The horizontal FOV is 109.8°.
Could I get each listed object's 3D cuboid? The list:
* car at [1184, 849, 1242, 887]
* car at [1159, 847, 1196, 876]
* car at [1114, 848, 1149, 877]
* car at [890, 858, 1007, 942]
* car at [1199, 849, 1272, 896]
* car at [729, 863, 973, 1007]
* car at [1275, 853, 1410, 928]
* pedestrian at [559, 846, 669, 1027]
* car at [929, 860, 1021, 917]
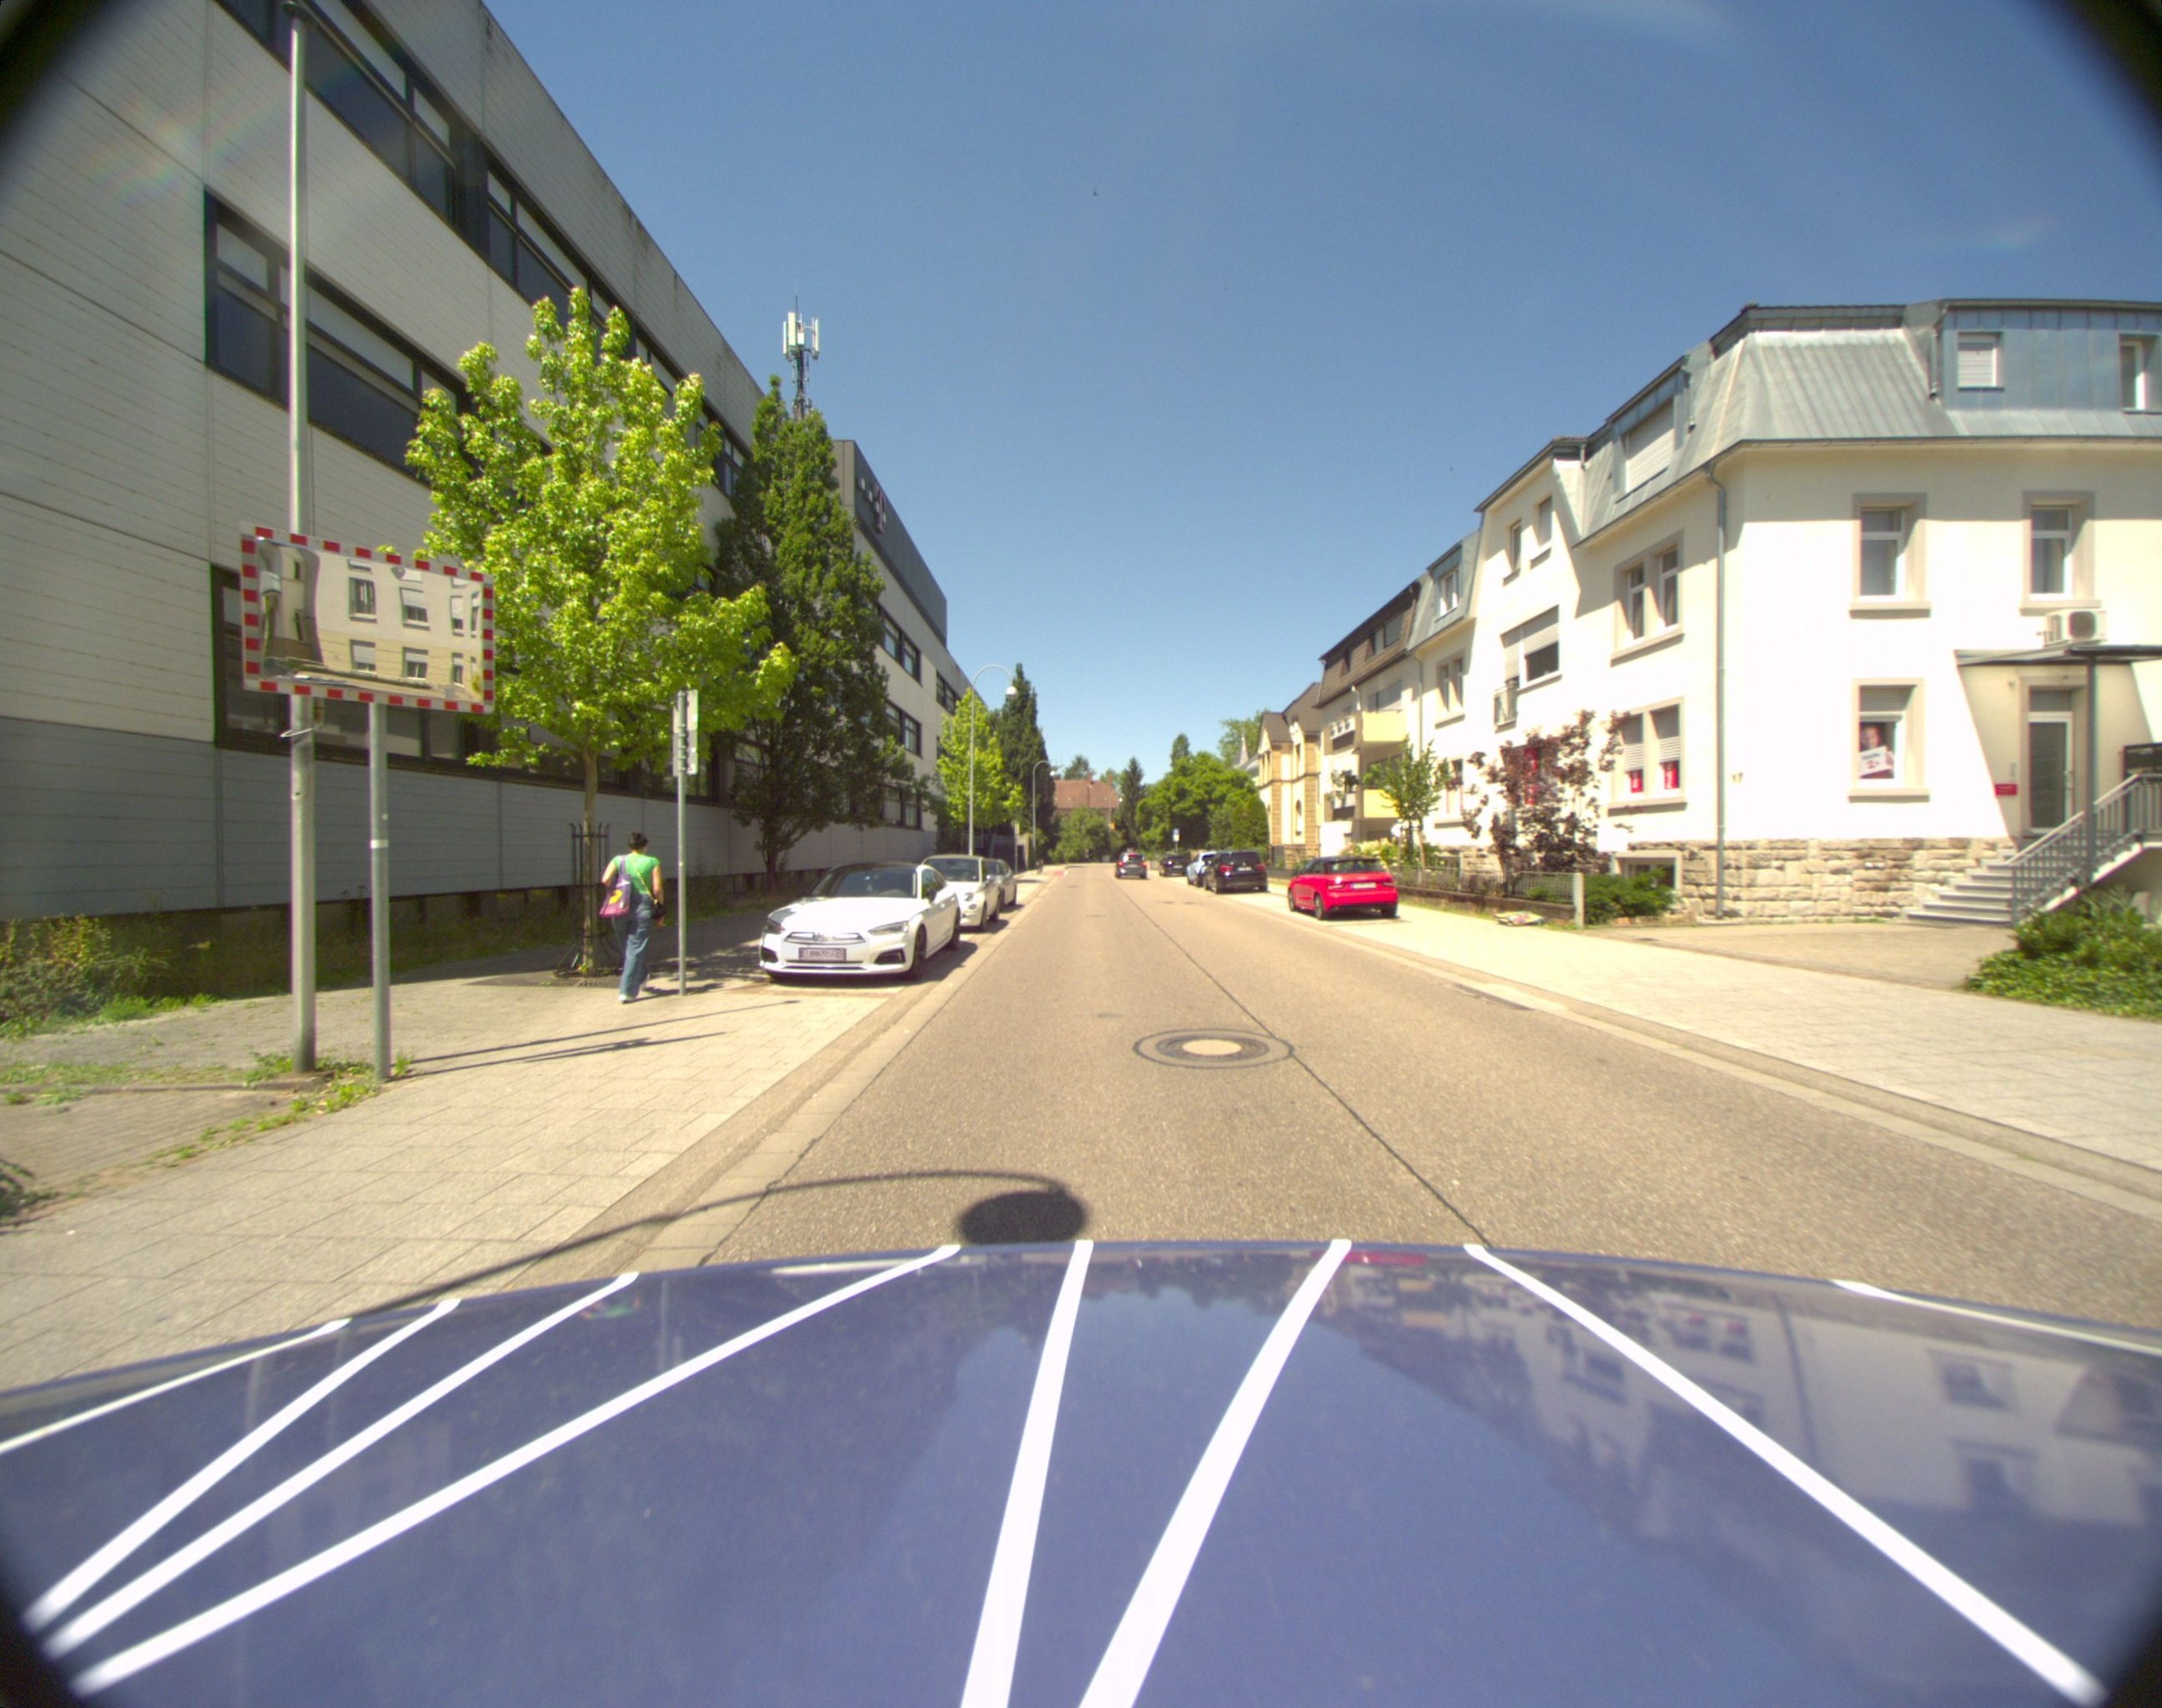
[{"bbox_3d":[5.985,0.591,34.910,1.925,1.577,4.287,-3,0,1],"label":"car"},{"bbox_3d":[6.199,0.439,49.298,1.925,1.681,4.287,-3,0,2],"label":"car"},{"bbox_3d":[3.048,0.484,46.572,1.925,1.668,4.287,0,1,1],"label":"car"},{"bbox_3d":[-2.625,0.851,15.880,1.714,1.489,3.877,1,0,1],"label":"car"},{"bbox_3d":[5.869,0.643,29.394,1.925,1.577,4.435,-3,0,1],"label":"car"},{"bbox_3d":[-2.843,0.912,10.674,1.920,1.460,4.880,1,0,0],"label":"car"},{"bbox_3d":[6.040,0.769,18.099,1.737,1.444,4.260,-3,0,1],"label":"car"},{"bbox_3d":[-4.688,0.772,7.700,0.681,1.690,1.048,1,1,-16],"label":"pedestrian"},{"bbox_3d":[-2.799,0.877,20.922,1.841,1.357,4.000,1,0,2],"label":"car"}]
